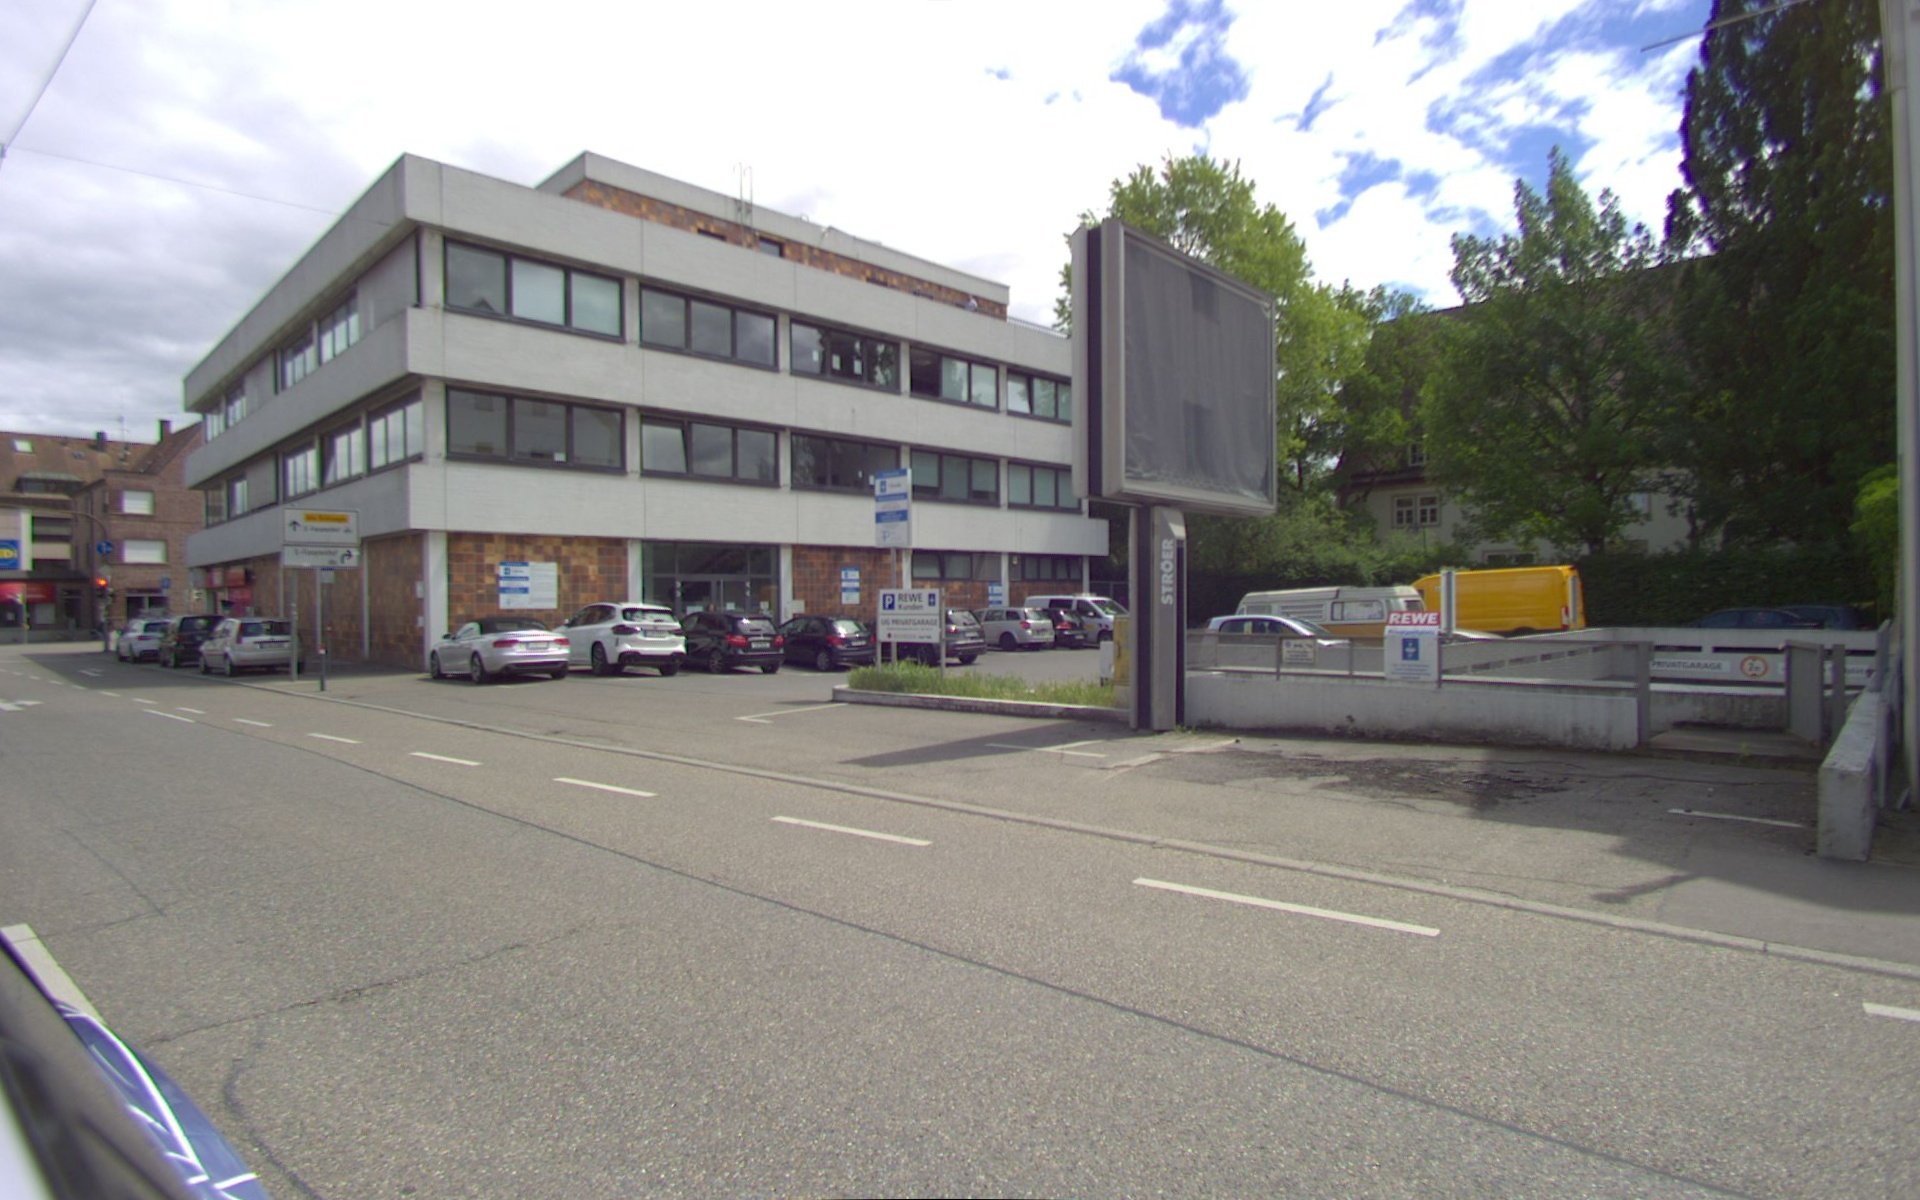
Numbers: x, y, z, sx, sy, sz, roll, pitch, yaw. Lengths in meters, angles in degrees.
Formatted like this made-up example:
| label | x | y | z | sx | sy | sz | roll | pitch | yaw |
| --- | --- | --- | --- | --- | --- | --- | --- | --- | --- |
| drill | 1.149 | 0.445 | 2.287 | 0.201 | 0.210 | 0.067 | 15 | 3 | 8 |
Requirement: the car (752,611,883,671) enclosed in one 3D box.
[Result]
| label | x | y | z | sx | sy | sz | roll | pitch | yaw |
| --- | --- | --- | --- | --- | --- | --- | --- | --- | --- |
| car | -4.012 | 1.115 | 28.280 | 3.604 | 1.558 | 1.744 | -1 | -1 | 42 |

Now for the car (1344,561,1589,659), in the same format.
| label | x | y | z | sx | sy | sz | roll | pitch | yaw |
| --- | --- | --- | --- | --- | --- | --- | --- | --- | --- |
| car | 14.440 | 0.322 | 29.160 | 5.977 | 2.549 | 2.039 | -1 | -2 | 43 |

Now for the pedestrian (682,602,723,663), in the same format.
| label | x | y | z | sx | sy | sz | roll | pitch | yaw |
| --- | --- | --- | --- | --- | --- | --- | --- | --- | --- |
| pedestrian | -7.334 | 0.926 | 28.816 | 0.709 | 1.684 | 0.996 | 2 | -2 | -44 |

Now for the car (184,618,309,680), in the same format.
| label | x | y | z | sx | sy | sz | roll | pitch | yaw |
| --- | --- | --- | --- | --- | --- | --- | --- | --- | --- |
| car | -18.539 | 1.219 | 26.229 | 4.146 | 1.432 | 1.704 | -1 | 0 | 41 |

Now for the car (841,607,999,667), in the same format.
| label | x | y | z | sx | sy | sz | roll | pitch | yaw |
| --- | --- | --- | --- | --- | --- | --- | --- | --- | --- |
| car | -1.212 | 1.030 | 28.804 | 4.497 | 1.590 | 1.900 | -2 | -1 | 44 |

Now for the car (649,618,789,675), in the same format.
| label | x | y | z | sx | sy | sz | roll | pitch | yaw |
| --- | --- | --- | --- | --- | --- | --- | --- | --- | --- |
| car | -6.180 | 1.140 | 25.755 | 3.604 | 1.341 | 1.744 | -1 | -1 | 42 |

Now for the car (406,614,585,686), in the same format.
| label | x | y | z | sx | sy | sz | roll | pitch | yaw |
| --- | --- | --- | --- | --- | --- | --- | --- | --- | --- |
| car | -10.250 | 1.027 | 22.135 | 4.857 | 1.368 | 1.929 | -1 | -1 | 44 |

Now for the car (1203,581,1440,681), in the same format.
| label | x | y | z | sx | sy | sz | roll | pitch | yaw |
| --- | --- | --- | --- | --- | --- | --- | --- | --- | --- |
| car | 7.976 | 0.664 | 22.631 | 4.649 | 2.004 | 1.817 | -1 | -1 | 44 |

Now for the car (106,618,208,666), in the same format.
| label | x | y | z | sx | sy | sz | roll | pitch | yaw |
| --- | --- | --- | --- | --- | --- | --- | --- | --- | --- |
| car | -27.405 | 1.382 | 34.481 | 4.953 | 1.455 | 2.022 | -1 | 0 | 44 |

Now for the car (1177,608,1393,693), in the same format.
| label | x | y | z | sx | sy | sz | roll | pitch | yaw |
| --- | --- | --- | --- | --- | --- | --- | --- | --- | --- |
| car | 6.502 | 0.959 | 20.378 | 3.751 | 1.541 | 1.795 | -1 | -1 | 38 |

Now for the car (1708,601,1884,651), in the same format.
| label | x | y | z | sx | sy | sz | roll | pitch | yaw |
| --- | --- | --- | --- | --- | --- | --- | --- | --- | --- |
| car | 23.468 | 0.712 | 28.477 | 1.692 | 1.294 | 3.664 | 0 | -1 | -45 |

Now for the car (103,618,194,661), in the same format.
| label | x | y | z | sx | sy | sz | roll | pitch | yaw |
| --- | --- | --- | --- | --- | --- | --- | --- | --- | --- |
| car | -31.016 | 1.465 | 38.635 | 4.283 | 1.486 | 2.023 | -1 | 0 | 42 |

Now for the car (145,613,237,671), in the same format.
| label | x | y | z | sx | sy | sz | roll | pitch | yaw |
| --- | --- | --- | --- | --- | --- | --- | --- | --- | --- |
| car | -23.216 | 1.233 | 30.515 | 3.057 | 1.567 | 1.717 | -1 | 0 | 43 |

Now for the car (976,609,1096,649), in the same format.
| label | x | y | z | sx | sy | sz | roll | pitch | yaw |
| --- | --- | --- | --- | --- | --- | --- | --- | --- | --- |
| car | 2.643 | 1.006 | 35.655 | 1.825 | 1.304 | 4.003 | 0 | -1 | -44 |

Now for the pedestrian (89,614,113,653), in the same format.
| label | x | y | z | sx | sy | sz | roll | pitch | yaw |
| --- | --- | --- | --- | --- | --- | --- | --- | --- | --- |
| pedestrian | -36.760 | 1.431 | 43.316 | 0.682 | 1.657 | 0.709 | -2 | 0 | 45 |

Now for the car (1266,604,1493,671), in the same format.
| label | x | y | z | sx | sy | sz | roll | pitch | yaw |
| --- | --- | --- | --- | --- | --- | --- | --- | --- | --- |
| car | 9.926 | 0.855 | 24.222 | 1.791 | 1.449 | 4.685 | 0 | -1 | -45 |

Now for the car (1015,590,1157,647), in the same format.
| label | x | y | z | sx | sy | sz | roll | pitch | yaw |
| --- | --- | --- | --- | --- | --- | --- | --- | --- | --- |
| car | 4.580 | 0.666 | 37.404 | 1.945 | 1.956 | 5.092 | 0 | -1 | -44 |

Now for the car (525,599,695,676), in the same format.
| label | x | y | z | sx | sy | sz | roll | pitch | yaw |
| --- | --- | --- | --- | --- | --- | --- | --- | --- | --- |
| car | -8.360 | 0.898 | 23.932 | 1.928 | 1.632 | 4.934 | 3 | -4 | -43 |

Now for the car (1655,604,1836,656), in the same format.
| label | x | y | z | sx | sy | sz | roll | pitch | yaw |
| --- | --- | --- | --- | --- | --- | --- | --- | --- | --- |
| car | 21.051 | 0.784 | 27.204 | 1.692 | 1.294 | 3.664 | 0 | -1 | -45 |

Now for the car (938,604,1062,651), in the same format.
| label | x | y | z | sx | sy | sz | roll | pitch | yaw |
| --- | --- | --- | --- | --- | --- | --- | --- | --- | --- |
| car | 1.302 | 0.906 | 34.066 | 1.825 | 1.472 | 4.003 | 0 | -1 | -44 |
